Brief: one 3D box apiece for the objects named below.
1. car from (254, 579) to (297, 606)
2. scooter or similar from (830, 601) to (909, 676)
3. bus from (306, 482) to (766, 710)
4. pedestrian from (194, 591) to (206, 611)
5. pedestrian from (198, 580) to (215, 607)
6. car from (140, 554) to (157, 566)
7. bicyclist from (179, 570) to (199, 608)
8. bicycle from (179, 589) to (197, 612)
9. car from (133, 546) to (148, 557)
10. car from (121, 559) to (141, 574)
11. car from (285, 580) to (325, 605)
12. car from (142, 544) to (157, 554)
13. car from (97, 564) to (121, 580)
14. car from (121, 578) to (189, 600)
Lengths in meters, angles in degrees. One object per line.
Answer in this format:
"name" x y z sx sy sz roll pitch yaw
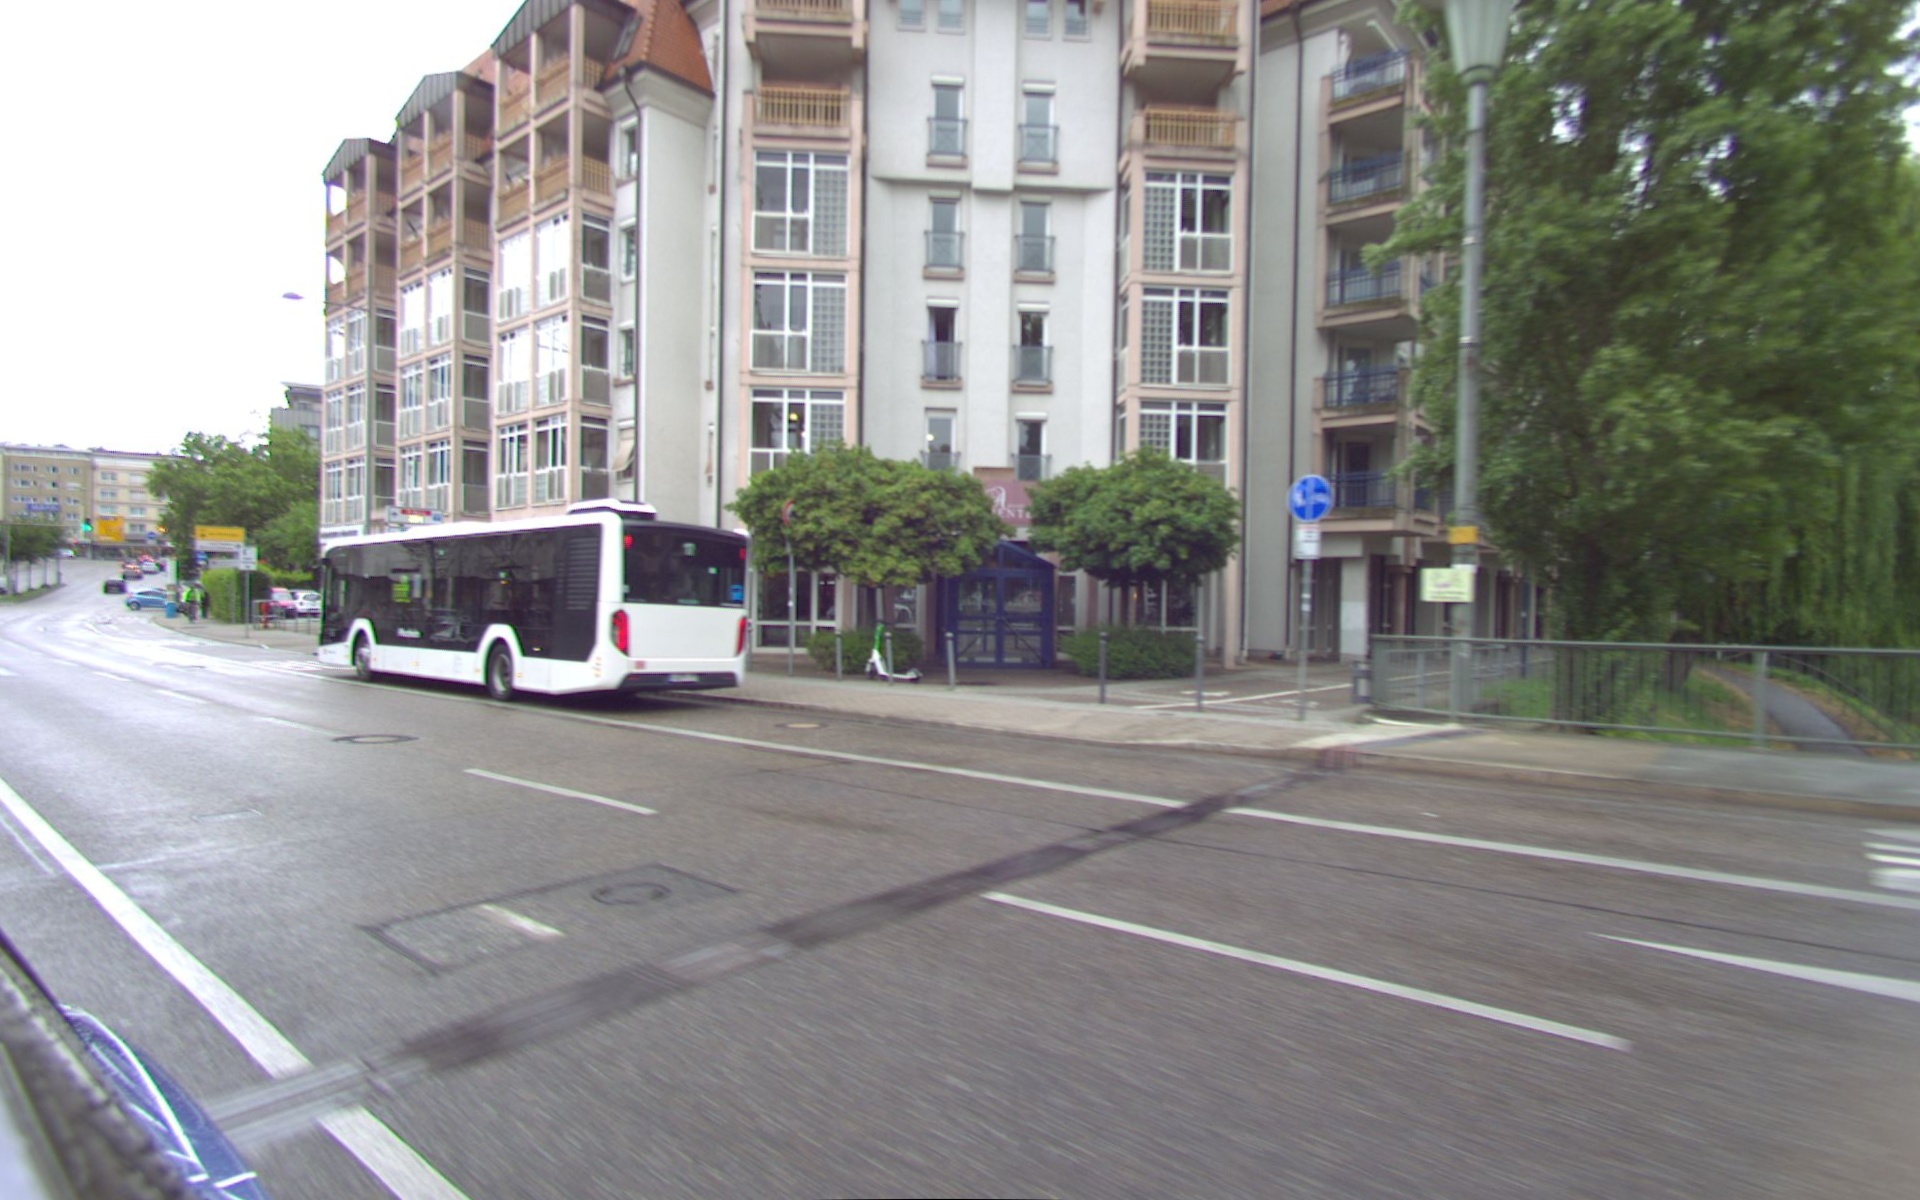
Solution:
"car" -40.333 -0.435 59.606 1.575 1.550 3.605 1 0 -42
"scooter or similar" -1.765 0.728 19.630 1.569 1.323 0.477 3 1 37
"bus" -8.549 -0.036 18.826 12.229 3.099 2.716 0 0 41
"pedestrian" -44.436 0.048 59.192 0.502 1.159 0.463 1 0 45
"pedestrian" -43.865 -0.373 58.907 0.565 1.571 0.706 1 0 44
"car" -110.821 -5.530 138.251 1.650 1.526 3.652 3 0 -37
"bicyclist" -40.074 -0.575 52.597 0.781 1.904 0.955 1 1 -41
"bicycle" -40.141 0.034 52.600 0.642 1.118 2.062 1 1 -40
"car" -117.534 -6.951 145.095 1.602 1.567 3.667 1 1 -38
"car" -102.619 -4.153 125.320 1.804 1.749 4.320 1 1 -38
"car" -42.043 -0.459 64.954 1.575 1.550 3.605 1 0 -42
"car" -126.085 -7.929 157.457 1.691 1.489 3.966 3 1 -38
"car" -86.617 -2.867 103.032 1.735 1.431 4.104 3 0 -40
"car" -58.388 -0.792 73.466 3.627 1.485 1.706 -2 -1 -31
